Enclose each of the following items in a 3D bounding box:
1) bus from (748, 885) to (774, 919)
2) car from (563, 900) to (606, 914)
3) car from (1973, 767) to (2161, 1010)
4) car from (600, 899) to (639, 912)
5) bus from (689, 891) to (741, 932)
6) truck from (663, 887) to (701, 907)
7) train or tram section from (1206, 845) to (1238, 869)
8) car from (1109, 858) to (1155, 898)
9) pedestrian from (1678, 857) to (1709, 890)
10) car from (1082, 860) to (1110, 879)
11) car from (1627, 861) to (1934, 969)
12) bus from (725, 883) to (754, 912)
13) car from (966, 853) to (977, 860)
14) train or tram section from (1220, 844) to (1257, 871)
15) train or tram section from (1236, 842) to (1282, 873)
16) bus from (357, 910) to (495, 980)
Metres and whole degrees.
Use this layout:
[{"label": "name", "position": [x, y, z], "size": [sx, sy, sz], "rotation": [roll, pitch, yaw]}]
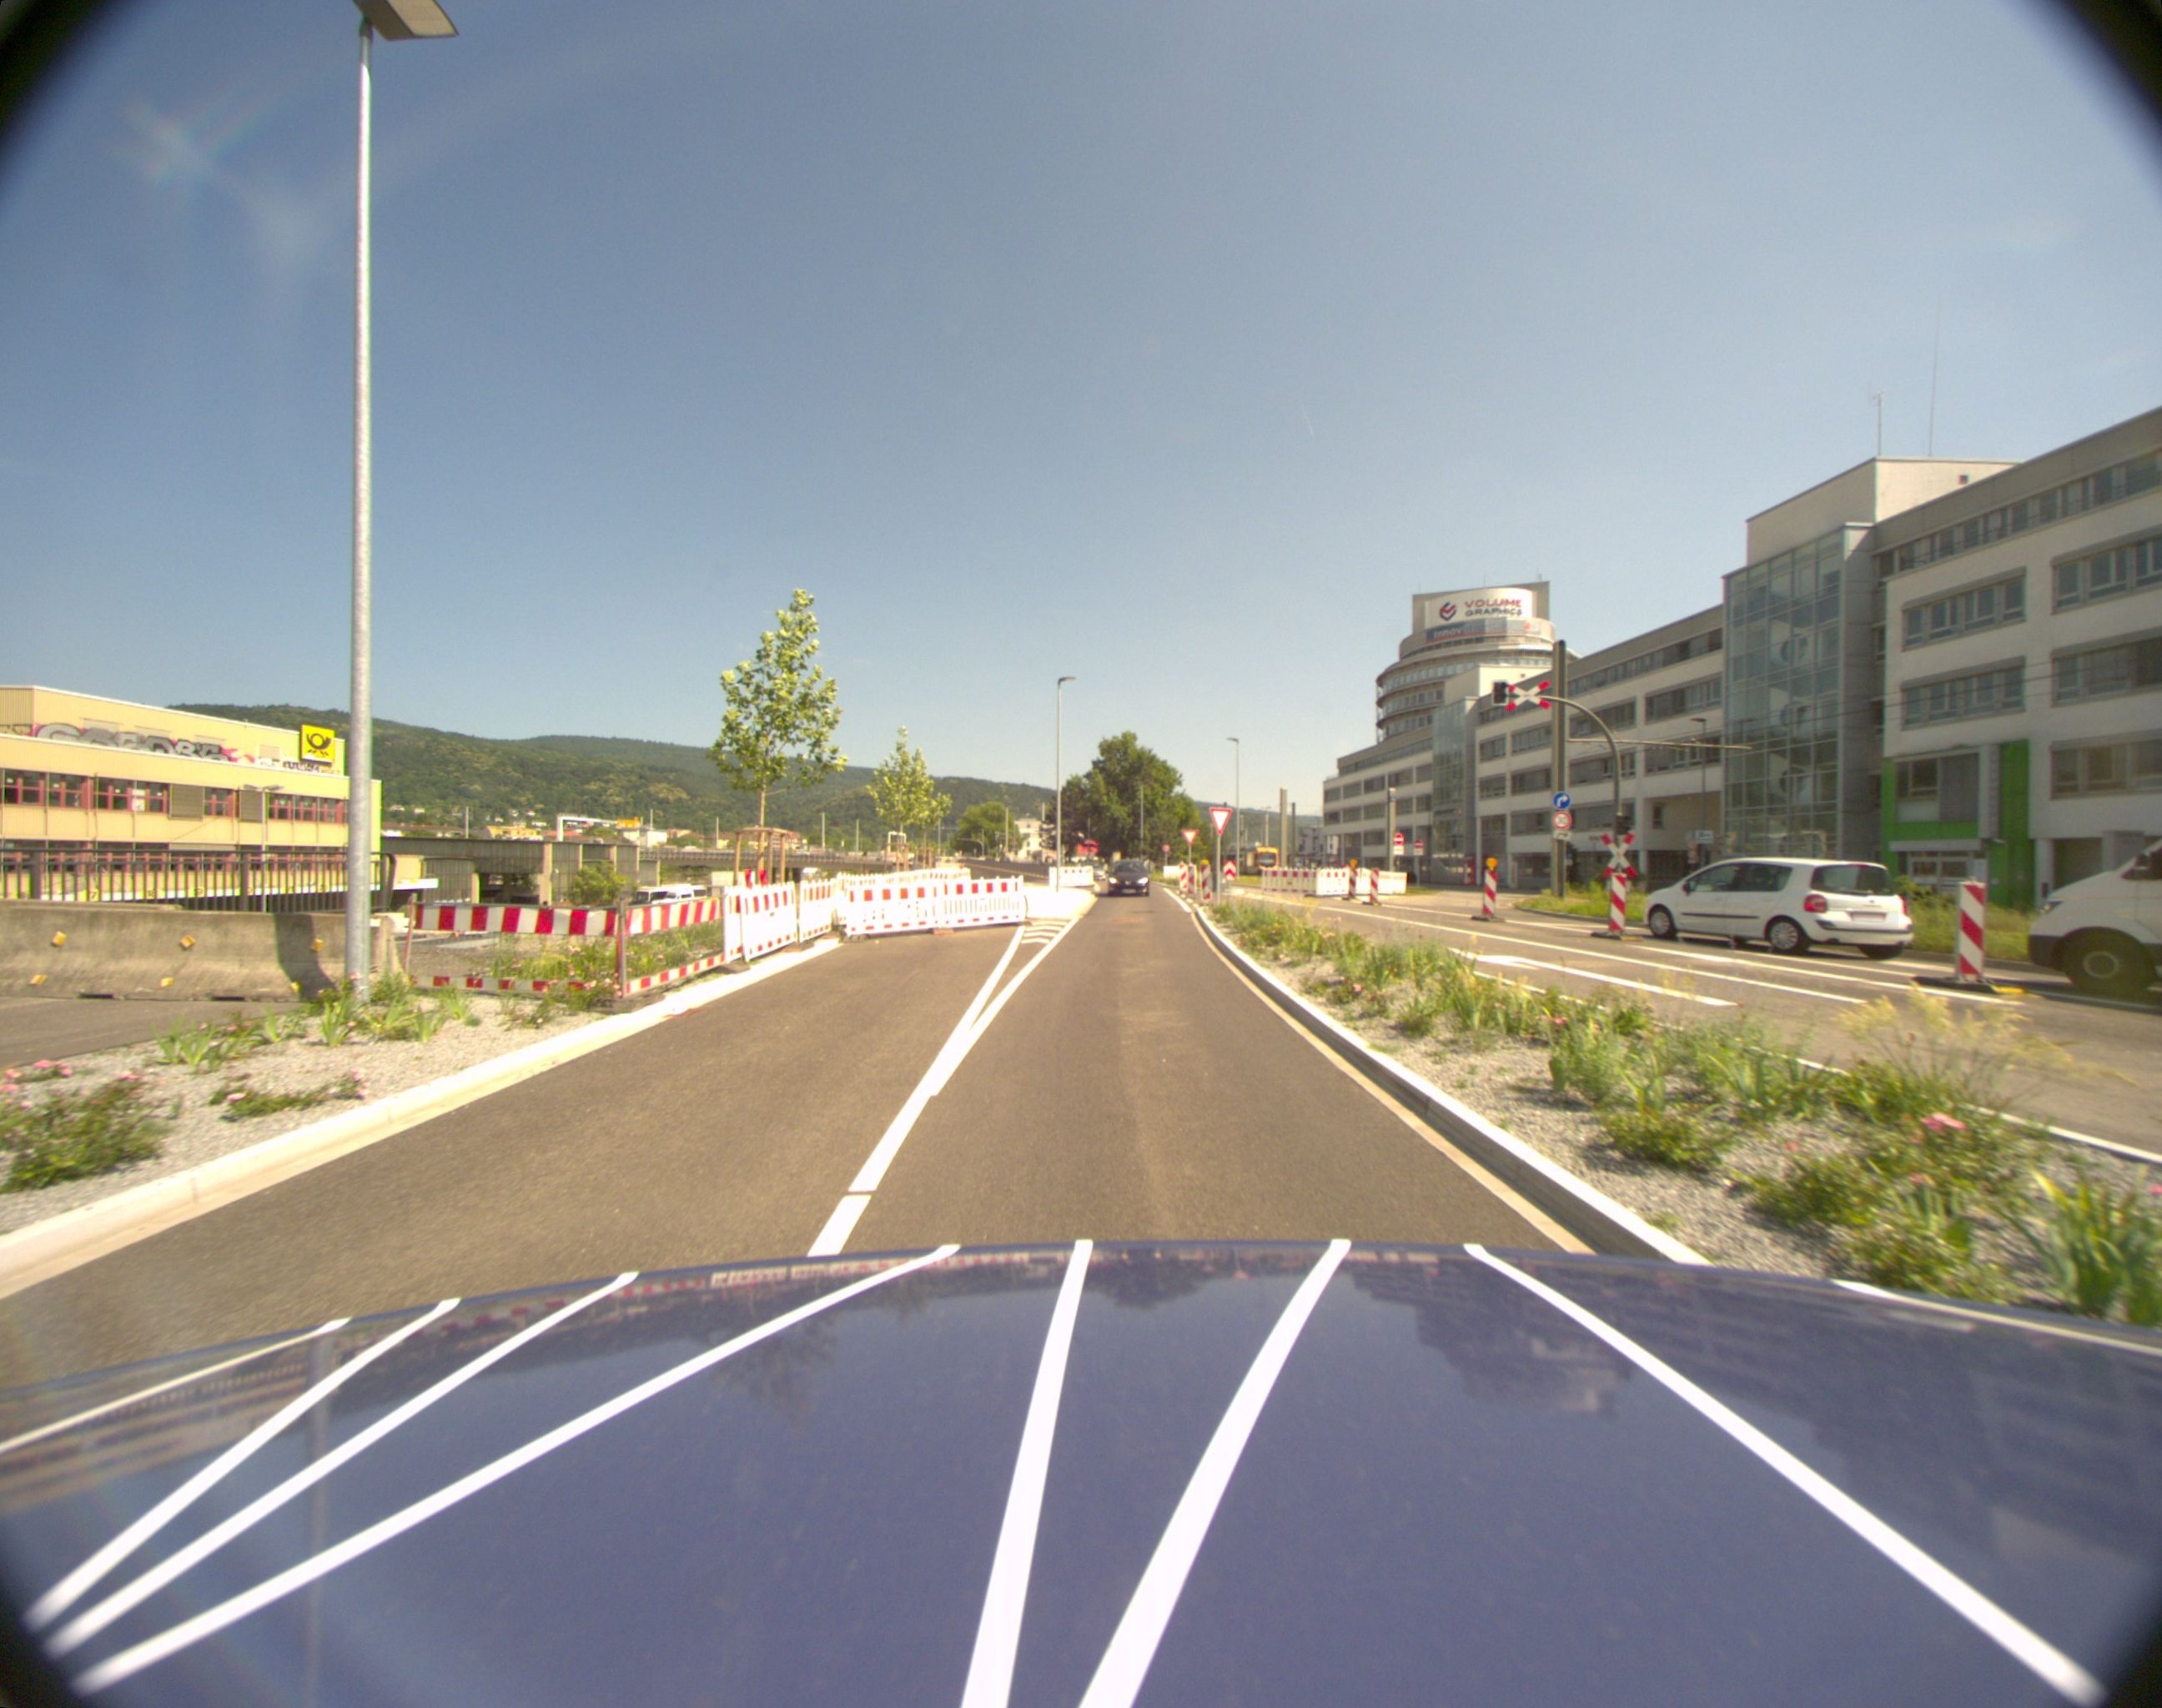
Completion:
[{"label": "bus", "position": [-42.140, 6.194, 100.225], "size": [2.553, 3.510, 12.518], "rotation": [-1, 1, -20]}, {"label": "car", "position": [-65.635, 6.983, 100.458], "size": [4.368, 1.576, 1.745], "rotation": [-1, 1, -4]}, {"label": "car", "position": [12.438, 0.400, 6.576], "size": [2.036, 2.563, 6.194], "rotation": [3, 0, 0]}, {"label": "car", "position": [-65.057, 7.264, 107.060], "size": [4.368, 1.576, 1.745], "rotation": [-1, 1, -4]}, {"label": "bus", "position": [-40.631, 6.237, 84.764], "size": [2.552, 3.510, 12.525], "rotation": [-1, 1, -13]}, {"label": "truck", "position": [-64.189, 6.885, 122.397], "size": [1.999, 2.741, 8.390], "rotation": [-1, 1, -3]}, {"label": "train or tram section", "position": [21.247, 0.416, 115.072], "size": [2.631, 3.430, 11.780], "rotation": [-1, 0, 0]}, {"label": "car", "position": [1.981, 0.906, 30.353], "size": [1.618, 1.433, 3.707], "rotation": [0, 0, 1]}, {"label": "pedestrian", "position": [33.778, 1.070, 41.916], "size": [0.767, 1.815, 1.109], "rotation": [-2, 0, -2]}, {"label": "car", "position": [1.146, 1.197, 61.425], "size": [1.620, 1.433, 3.764], "rotation": [0, 0, -9]}, {"label": "car", "position": [11.851, 0.928, 13.307], "size": [1.584, 1.532, 3.977], "rotation": [3, 0, -1]}, {"label": "bus", "position": [-51.552, 6.430, 114.999], "size": [2.553, 3.510, 12.521], "rotation": [-1, 1, -17]}, {"label": "car", "position": [-21.111, 0.450, 146.267], "size": [1.621, 1.433, 3.762], "rotation": [0, 0, -16]}, {"label": "train or tram section", "position": [21.263, 0.409, 103.319], "size": [2.631, 3.430, 11.780], "rotation": [-1, 0, 0]}, {"label": "train or tram section", "position": [21.265, 0.396, 91.538], "size": [2.631, 3.430, 11.780], "rotation": [-1, 0, 0]}, {"label": "bus", "position": [-48.233, 6.417, 55.550], "size": [17.427, 3.742, 2.670], "rotation": [0, 1, 32]}]
